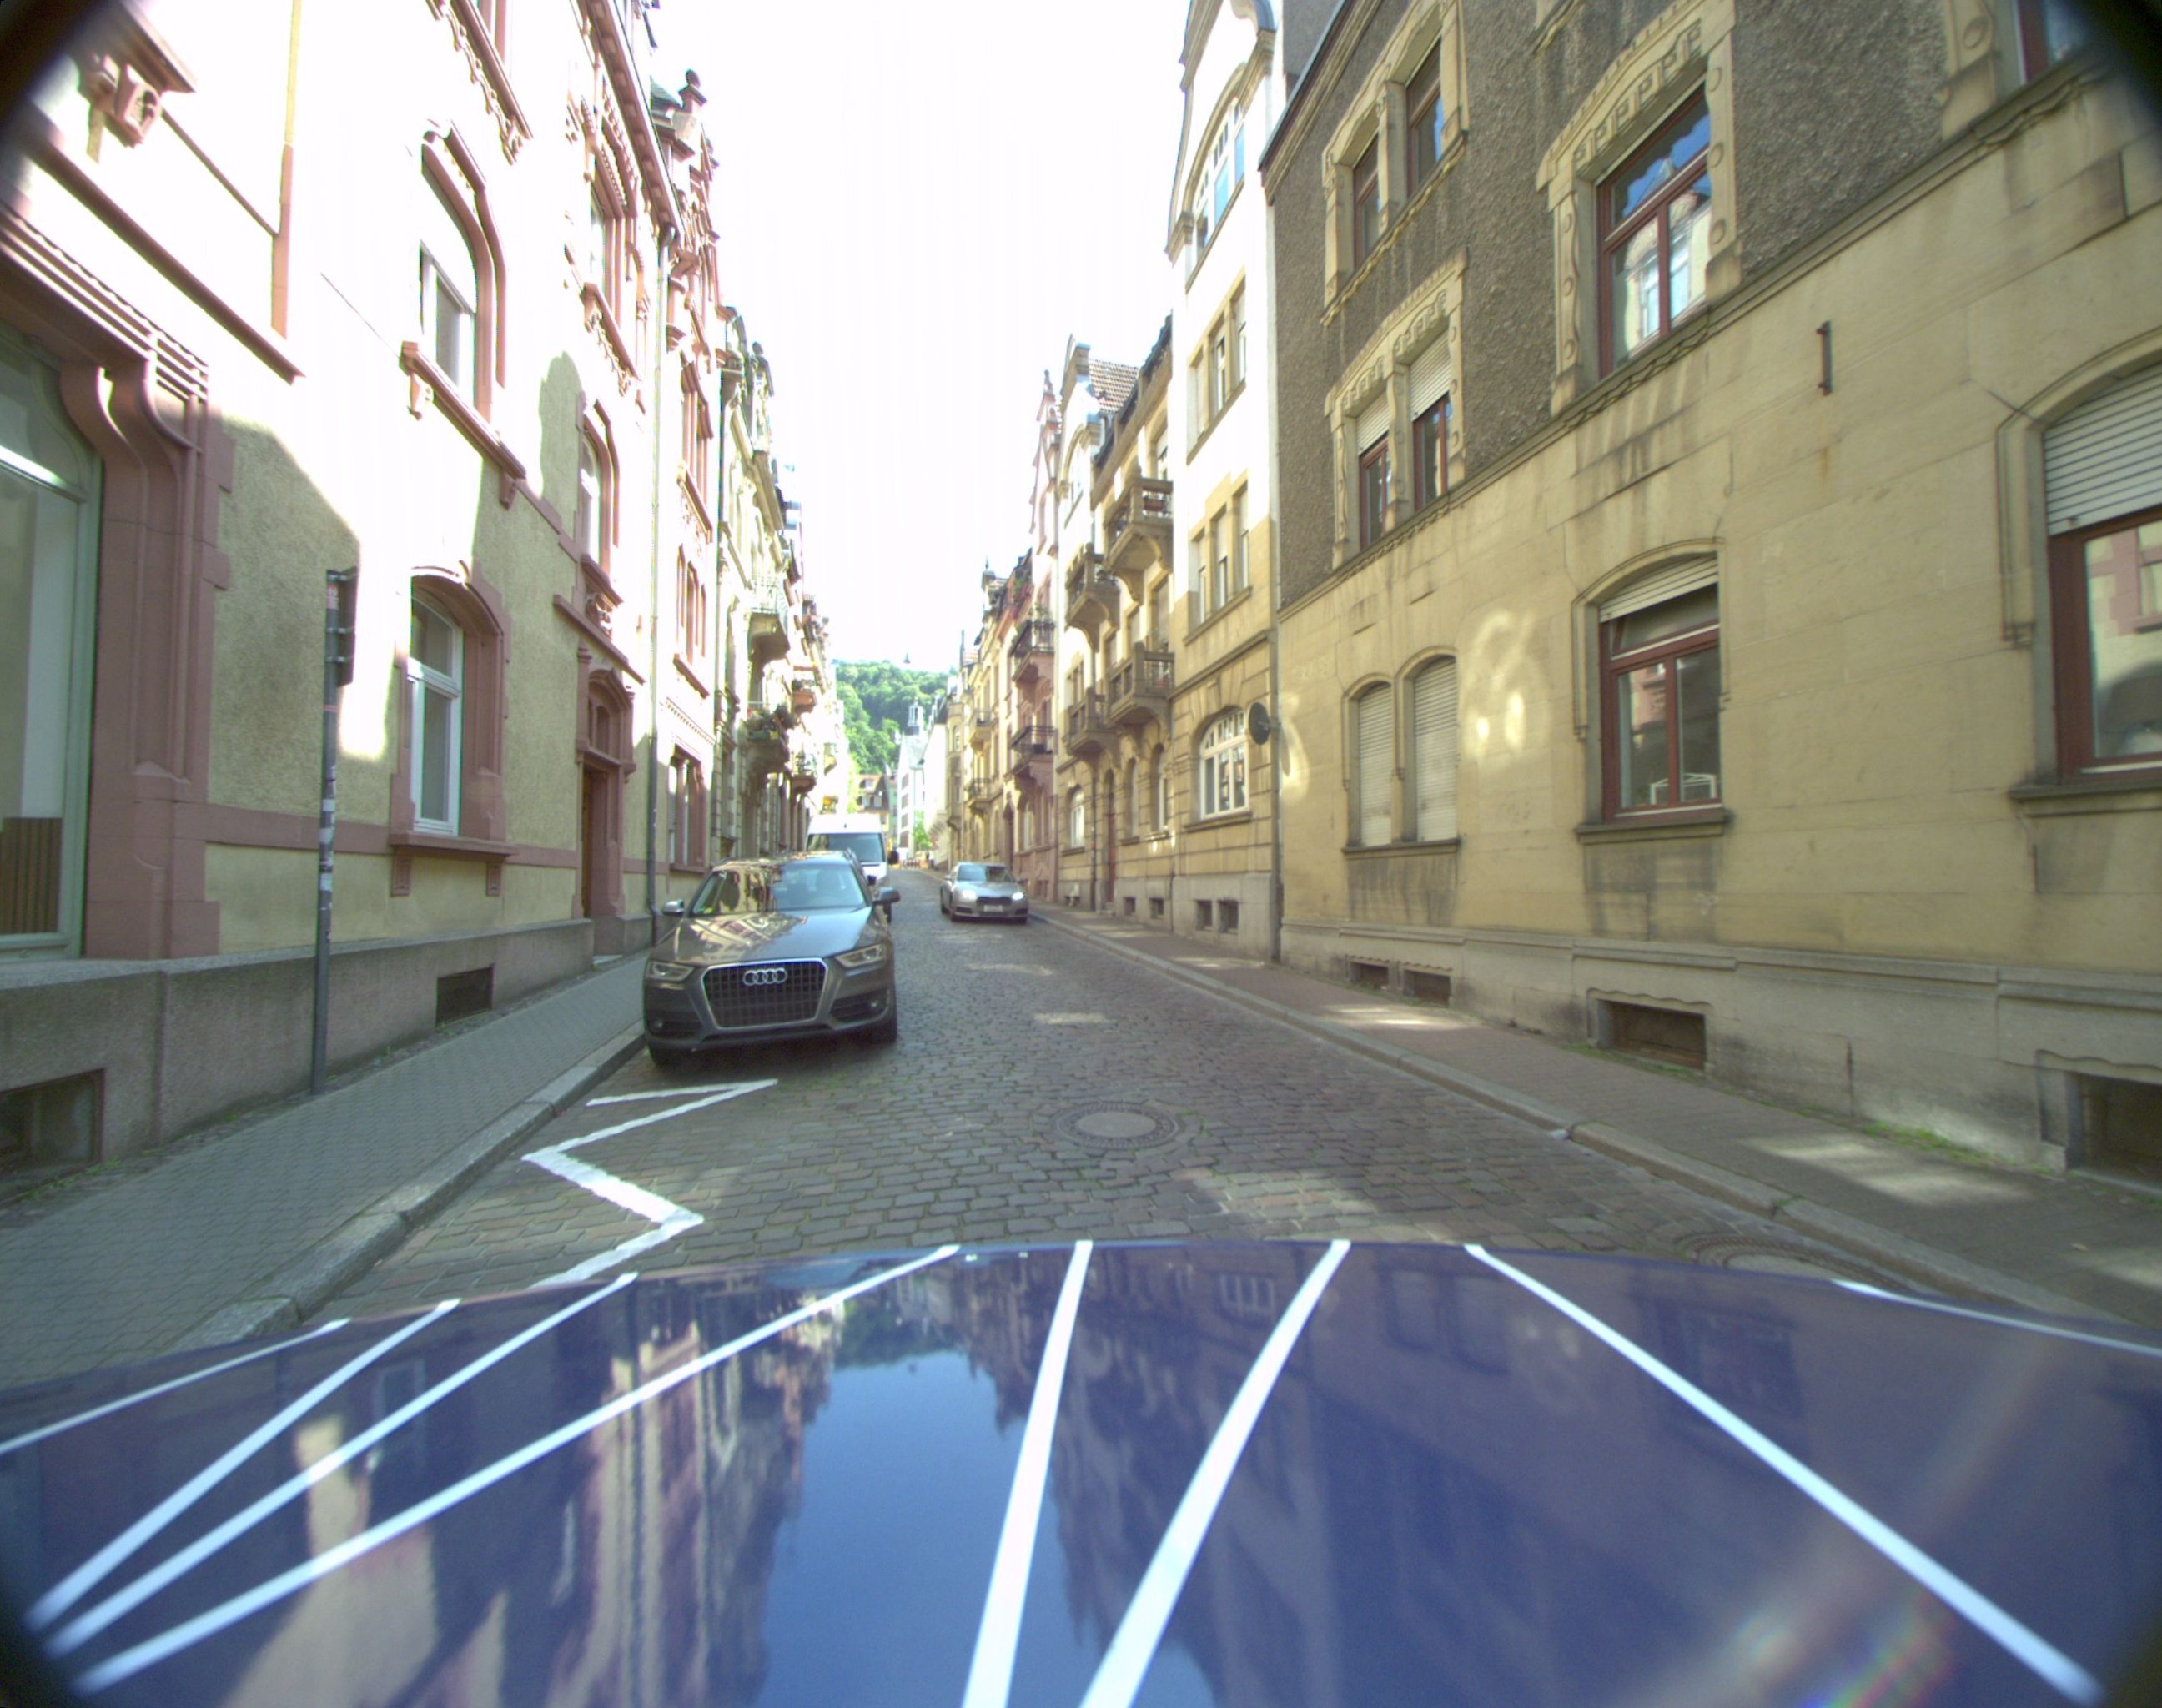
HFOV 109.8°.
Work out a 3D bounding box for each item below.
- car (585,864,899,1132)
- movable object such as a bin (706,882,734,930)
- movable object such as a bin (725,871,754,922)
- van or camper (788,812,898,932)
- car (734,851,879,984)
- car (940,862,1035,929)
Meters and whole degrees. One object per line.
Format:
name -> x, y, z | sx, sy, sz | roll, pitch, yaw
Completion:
car -> -2.759, 0.932, 7.050 | 1.863, 1.574, 4.254 | -2, 0, -16
movable object such as a bin -> -7.269, 1.040, 15.309 | 0.440, 0.951, 0.349 | 0, -1, -15
movable object such as a bin -> -7.425, 0.922, 16.540 | 0.518, 1.083, 0.421 | 0, -1, -15
van or camper -> -5.967, 0.364, 19.465 | 2.228, 2.505, 6.758 | 0, 0, -16
car -> -4.210, 0.838, 12.221 | 1.762, 1.696, 3.995 | -2, 1, -15
car -> -2.485, 0.938, 19.234 | 1.878, 1.483, 4.377 | 0, 0, -14
